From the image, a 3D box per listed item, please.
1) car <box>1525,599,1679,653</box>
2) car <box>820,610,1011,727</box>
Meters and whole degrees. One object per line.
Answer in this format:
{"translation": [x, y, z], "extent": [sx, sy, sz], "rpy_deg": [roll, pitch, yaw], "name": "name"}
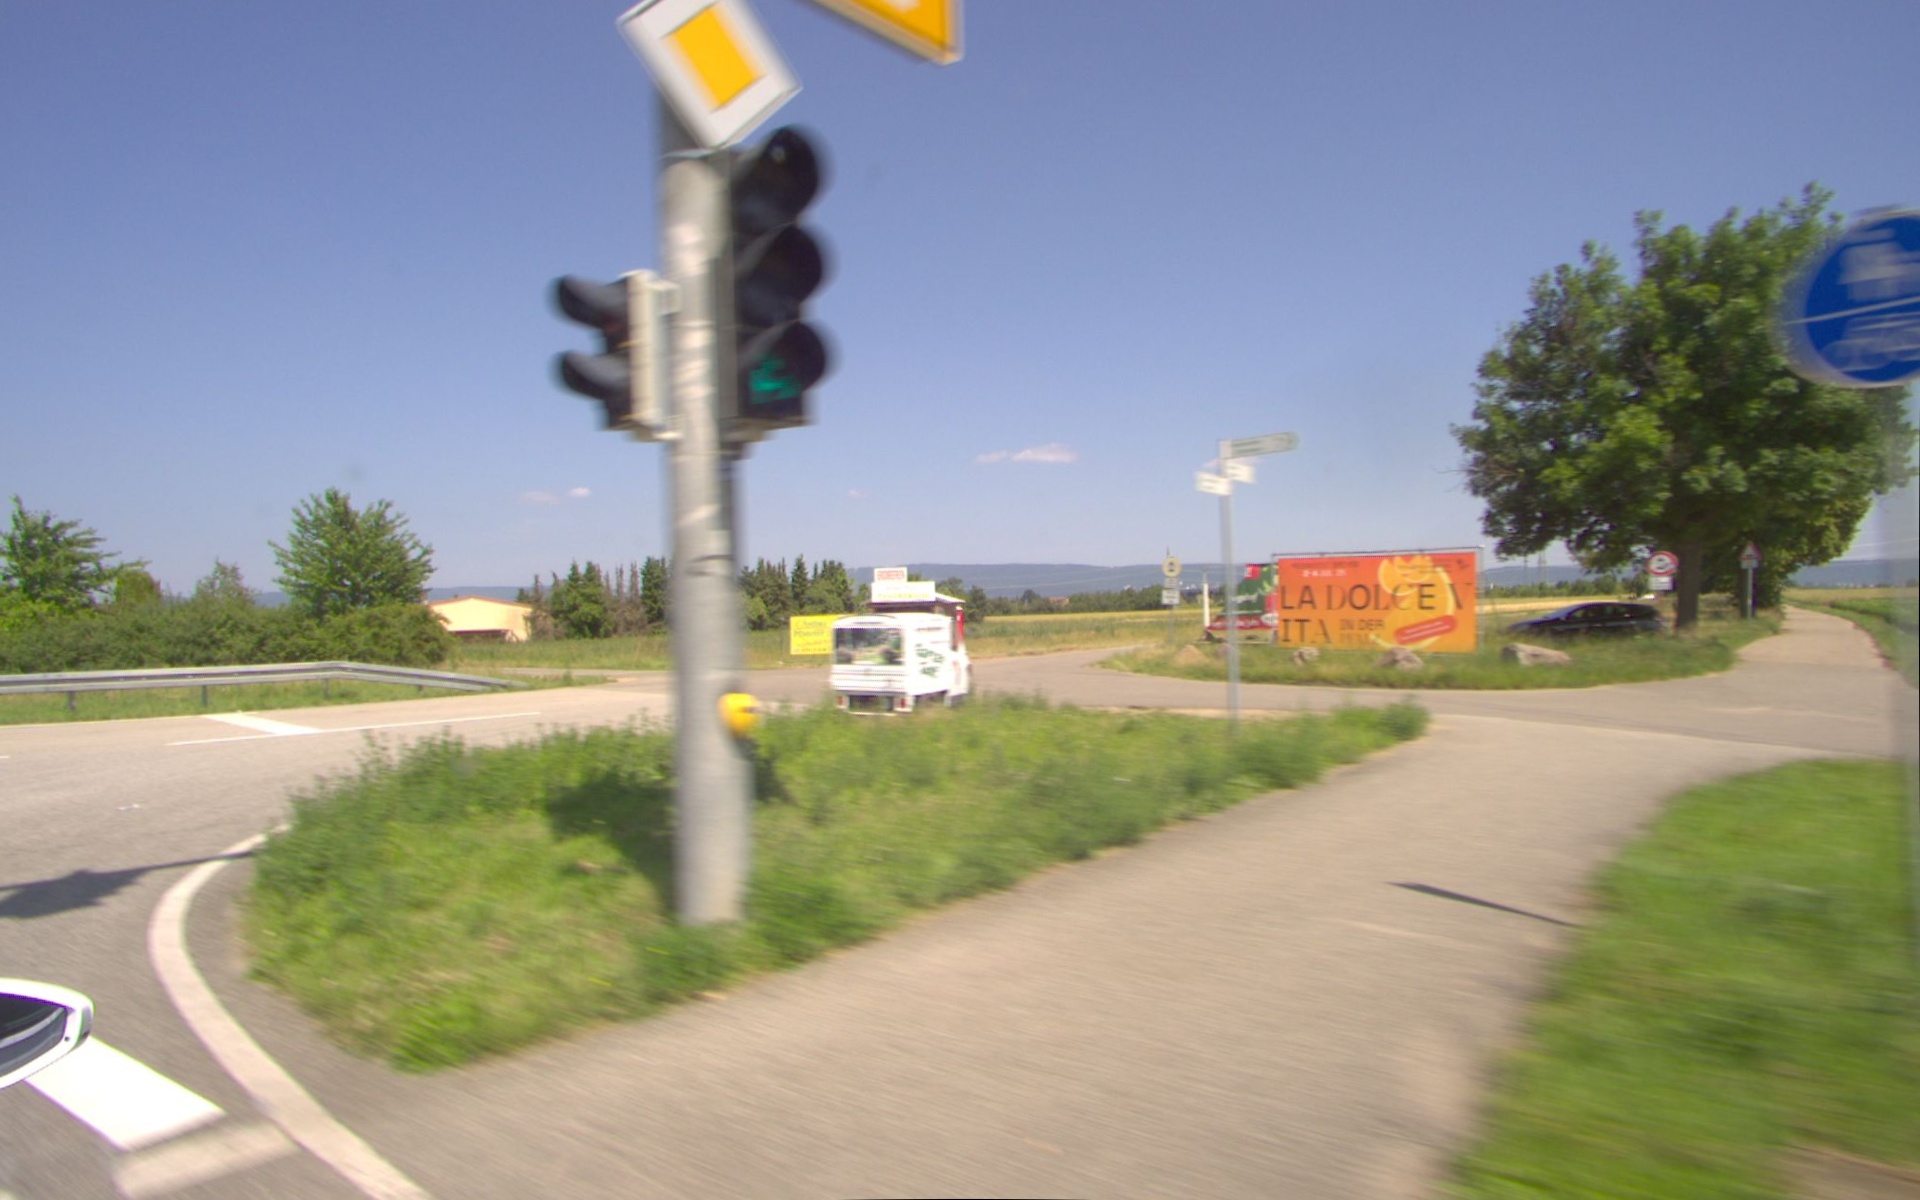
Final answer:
{"translation": [19.524, 0.807, 30.502], "extent": [3.834, 1.547, 1.750], "rpy_deg": [-2, -1, 37], "name": "car"}
{"translation": [-0.545, 0.930, 14.751], "extent": [1.378, 1.519, 3.336], "rpy_deg": [-2, -1, 26], "name": "car"}
